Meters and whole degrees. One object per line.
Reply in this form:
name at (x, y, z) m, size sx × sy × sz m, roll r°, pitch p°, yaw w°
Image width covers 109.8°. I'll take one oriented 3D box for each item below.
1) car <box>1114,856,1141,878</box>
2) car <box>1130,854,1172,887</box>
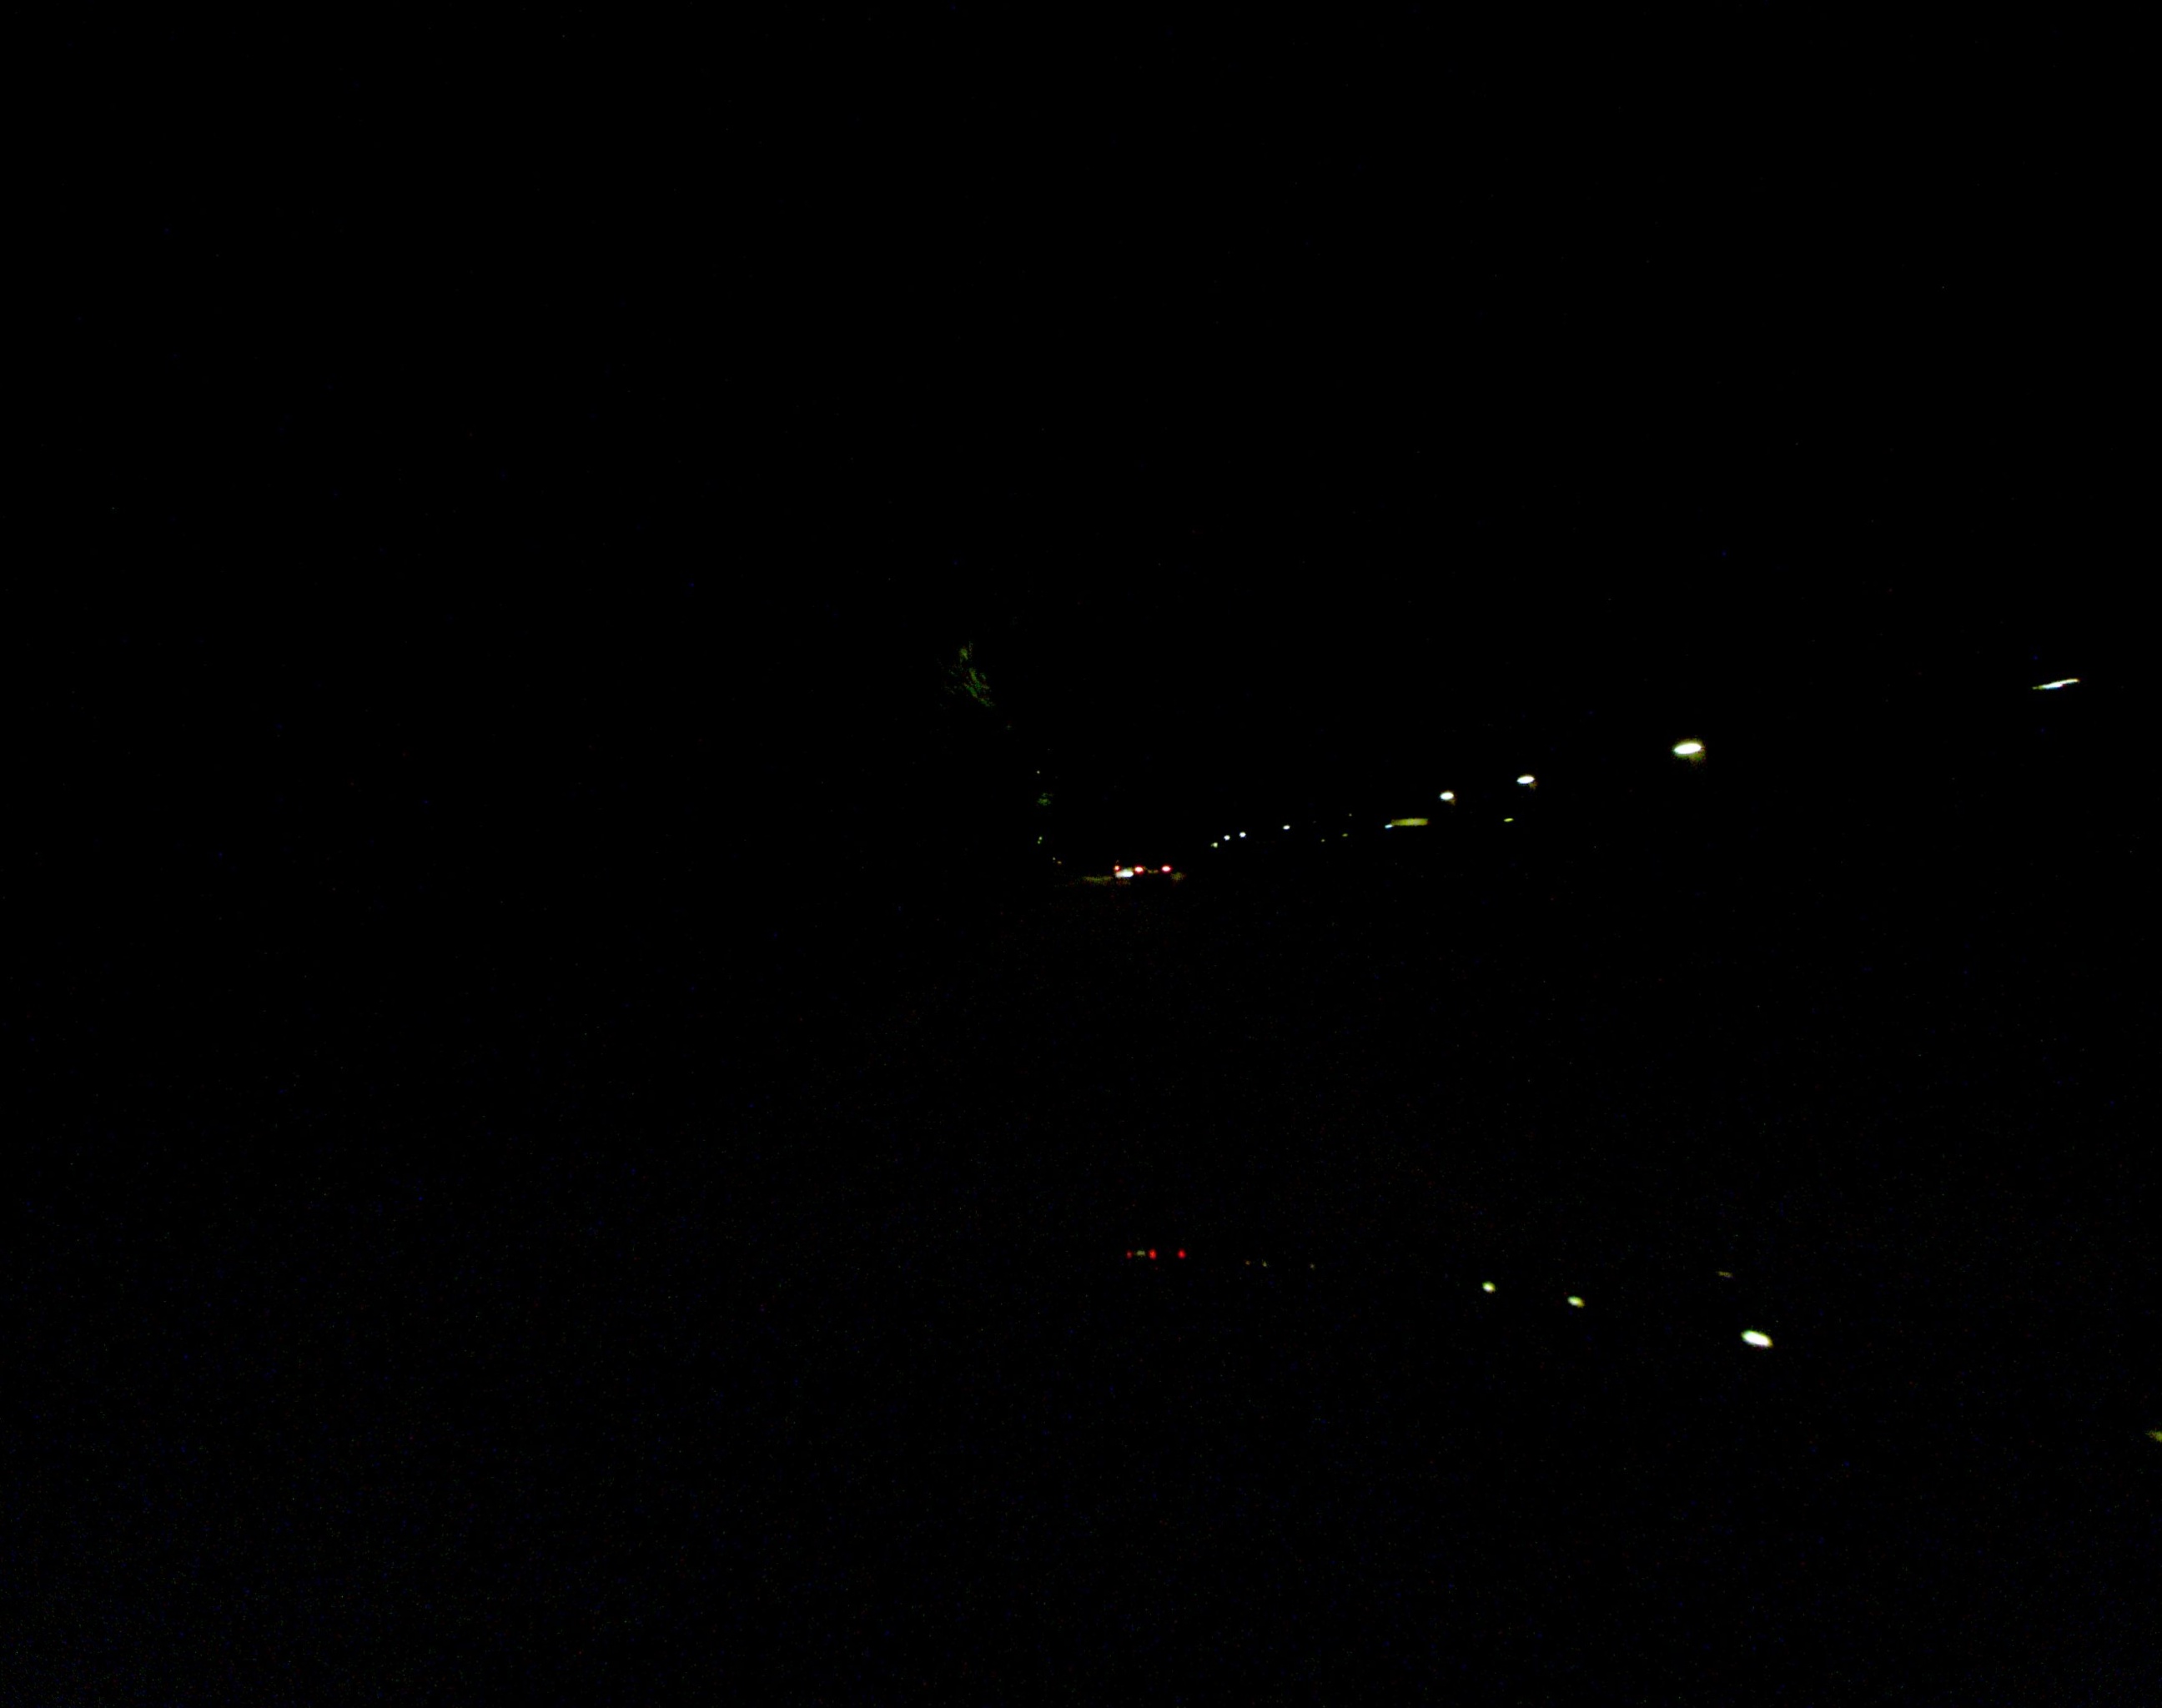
car at (3.259, 0.887, 53.390) m, size 1.691 × 1.449 × 4.000 m, roll -2°, pitch 0°, yaw 1°
car at (3.338, 0.762, 36.684) m, size 1.651 × 1.483 × 3.557 m, roll -2°, pitch 0°, yaw 0°
